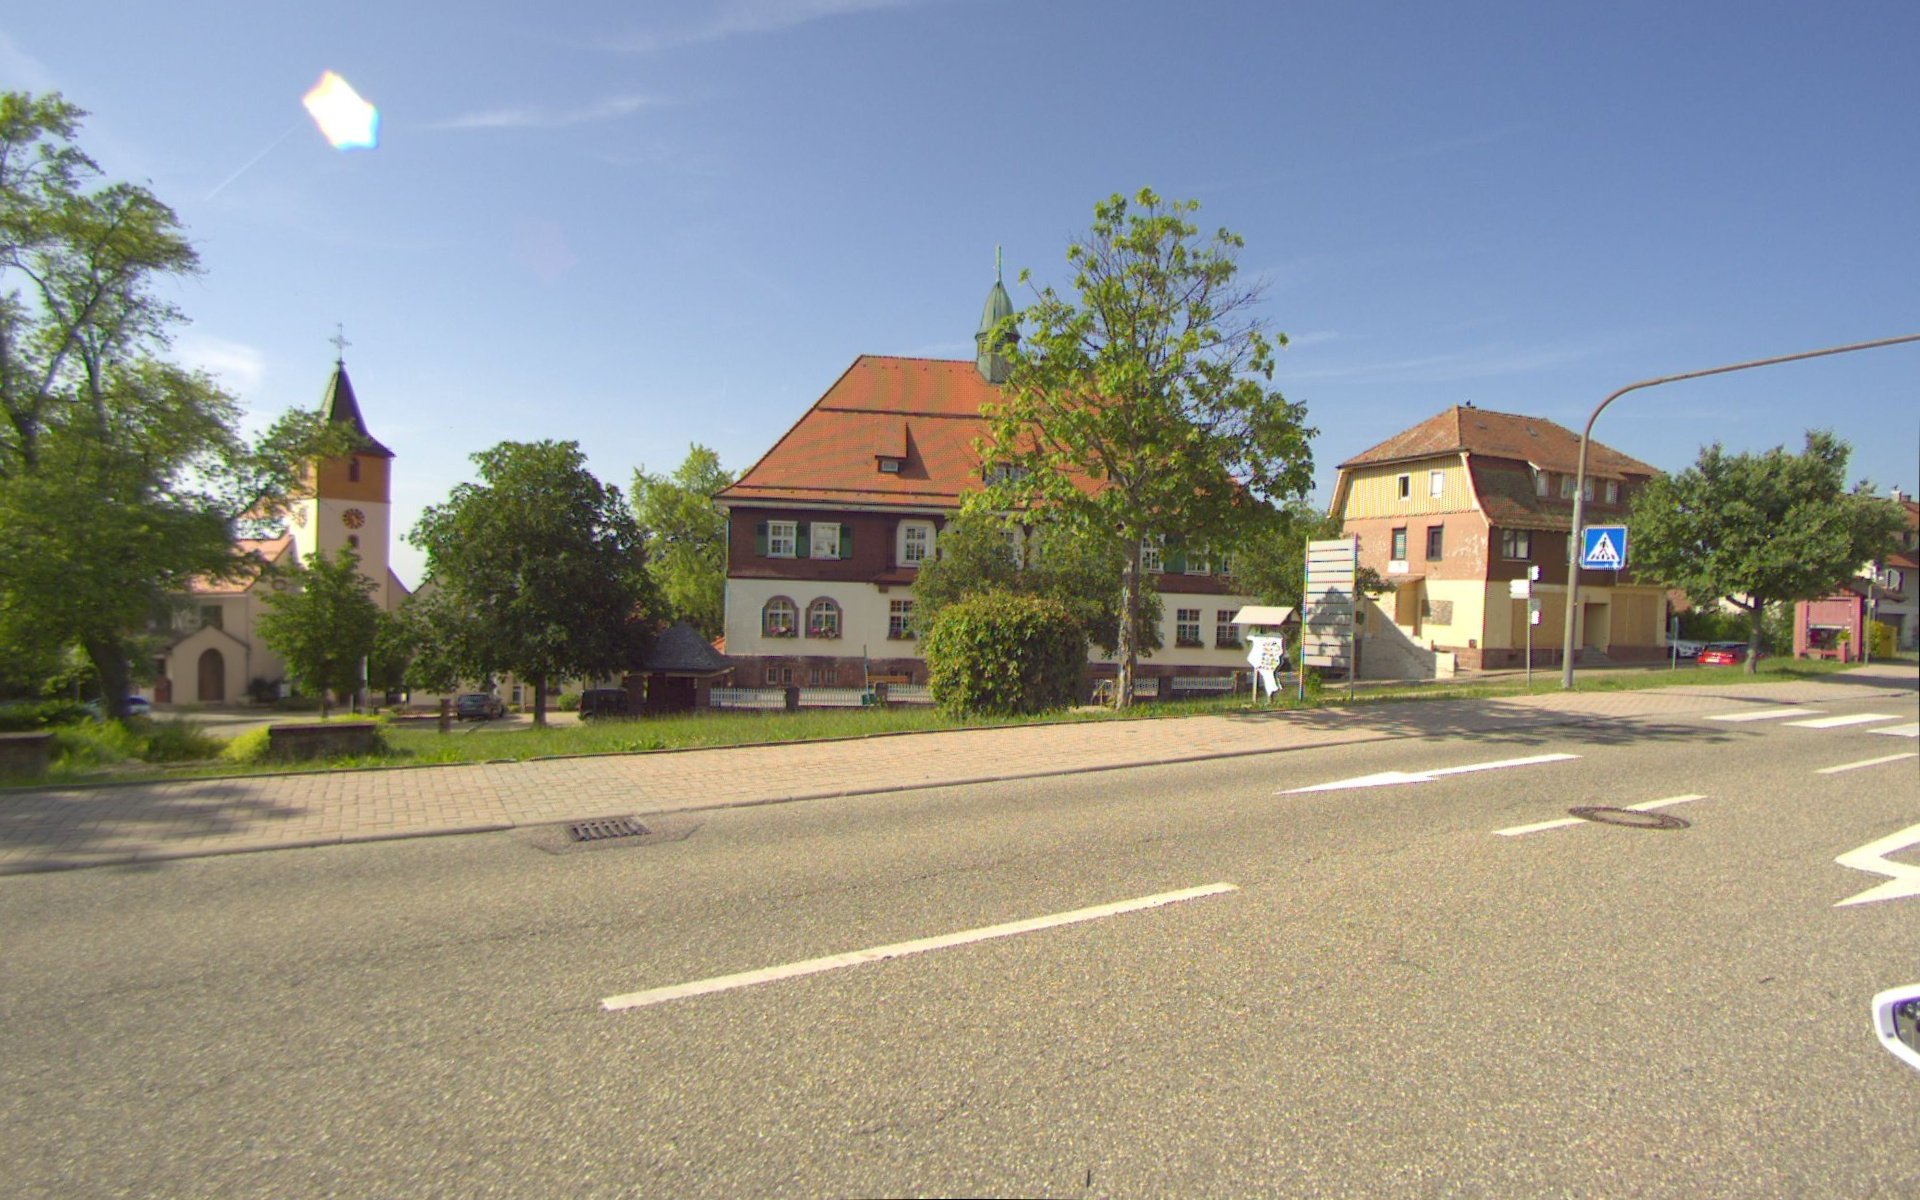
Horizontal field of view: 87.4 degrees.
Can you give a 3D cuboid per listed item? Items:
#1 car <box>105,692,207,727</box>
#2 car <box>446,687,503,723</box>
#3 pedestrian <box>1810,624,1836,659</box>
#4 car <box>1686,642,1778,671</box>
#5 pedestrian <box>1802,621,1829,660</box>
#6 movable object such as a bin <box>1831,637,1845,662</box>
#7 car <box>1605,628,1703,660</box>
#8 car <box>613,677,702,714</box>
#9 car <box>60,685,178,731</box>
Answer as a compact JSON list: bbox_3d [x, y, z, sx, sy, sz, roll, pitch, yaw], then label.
[{"bbox_3d":[-44.318,6.014,55.483,3.946,1.684,1.988,1,-3,-26],"label":"car"},{"bbox_3d":[-25.734,5.562,53.380,1.967,1.639,3.988,0,-3,-15],"label":"car"},{"bbox_3d":[31.889,1.528,37.119,0.420,1.269,0.624,2,-2,-39],"label":"pedestrian"},{"bbox_3d":[36.521,2.662,47.511,3.943,1.314,1.717,1,-2,-23],"label":"car"},{"bbox_3d":[31.378,1.476,36.831,0.668,1.382,0.612,0,-1,-39],"label":"pedestrian"},{"bbox_3d":[30.183,1.694,34.540,0.481,0.848,0.302,2,-2,-40],"label":"movable object such as a bin"},{"bbox_3d":[39.873,2.506,57.794,1.777,1.531,4.286,3,0,-27],"label":"car"},{"bbox_3d":[-12.969,4.097,43.219,3.437,1.486,1.576,0,-2,-8],"label":"car"},{"bbox_3d":[-40.671,5.192,48.710,3.946,2.040,1.988,1,-3,-26],"label":"car"}]
